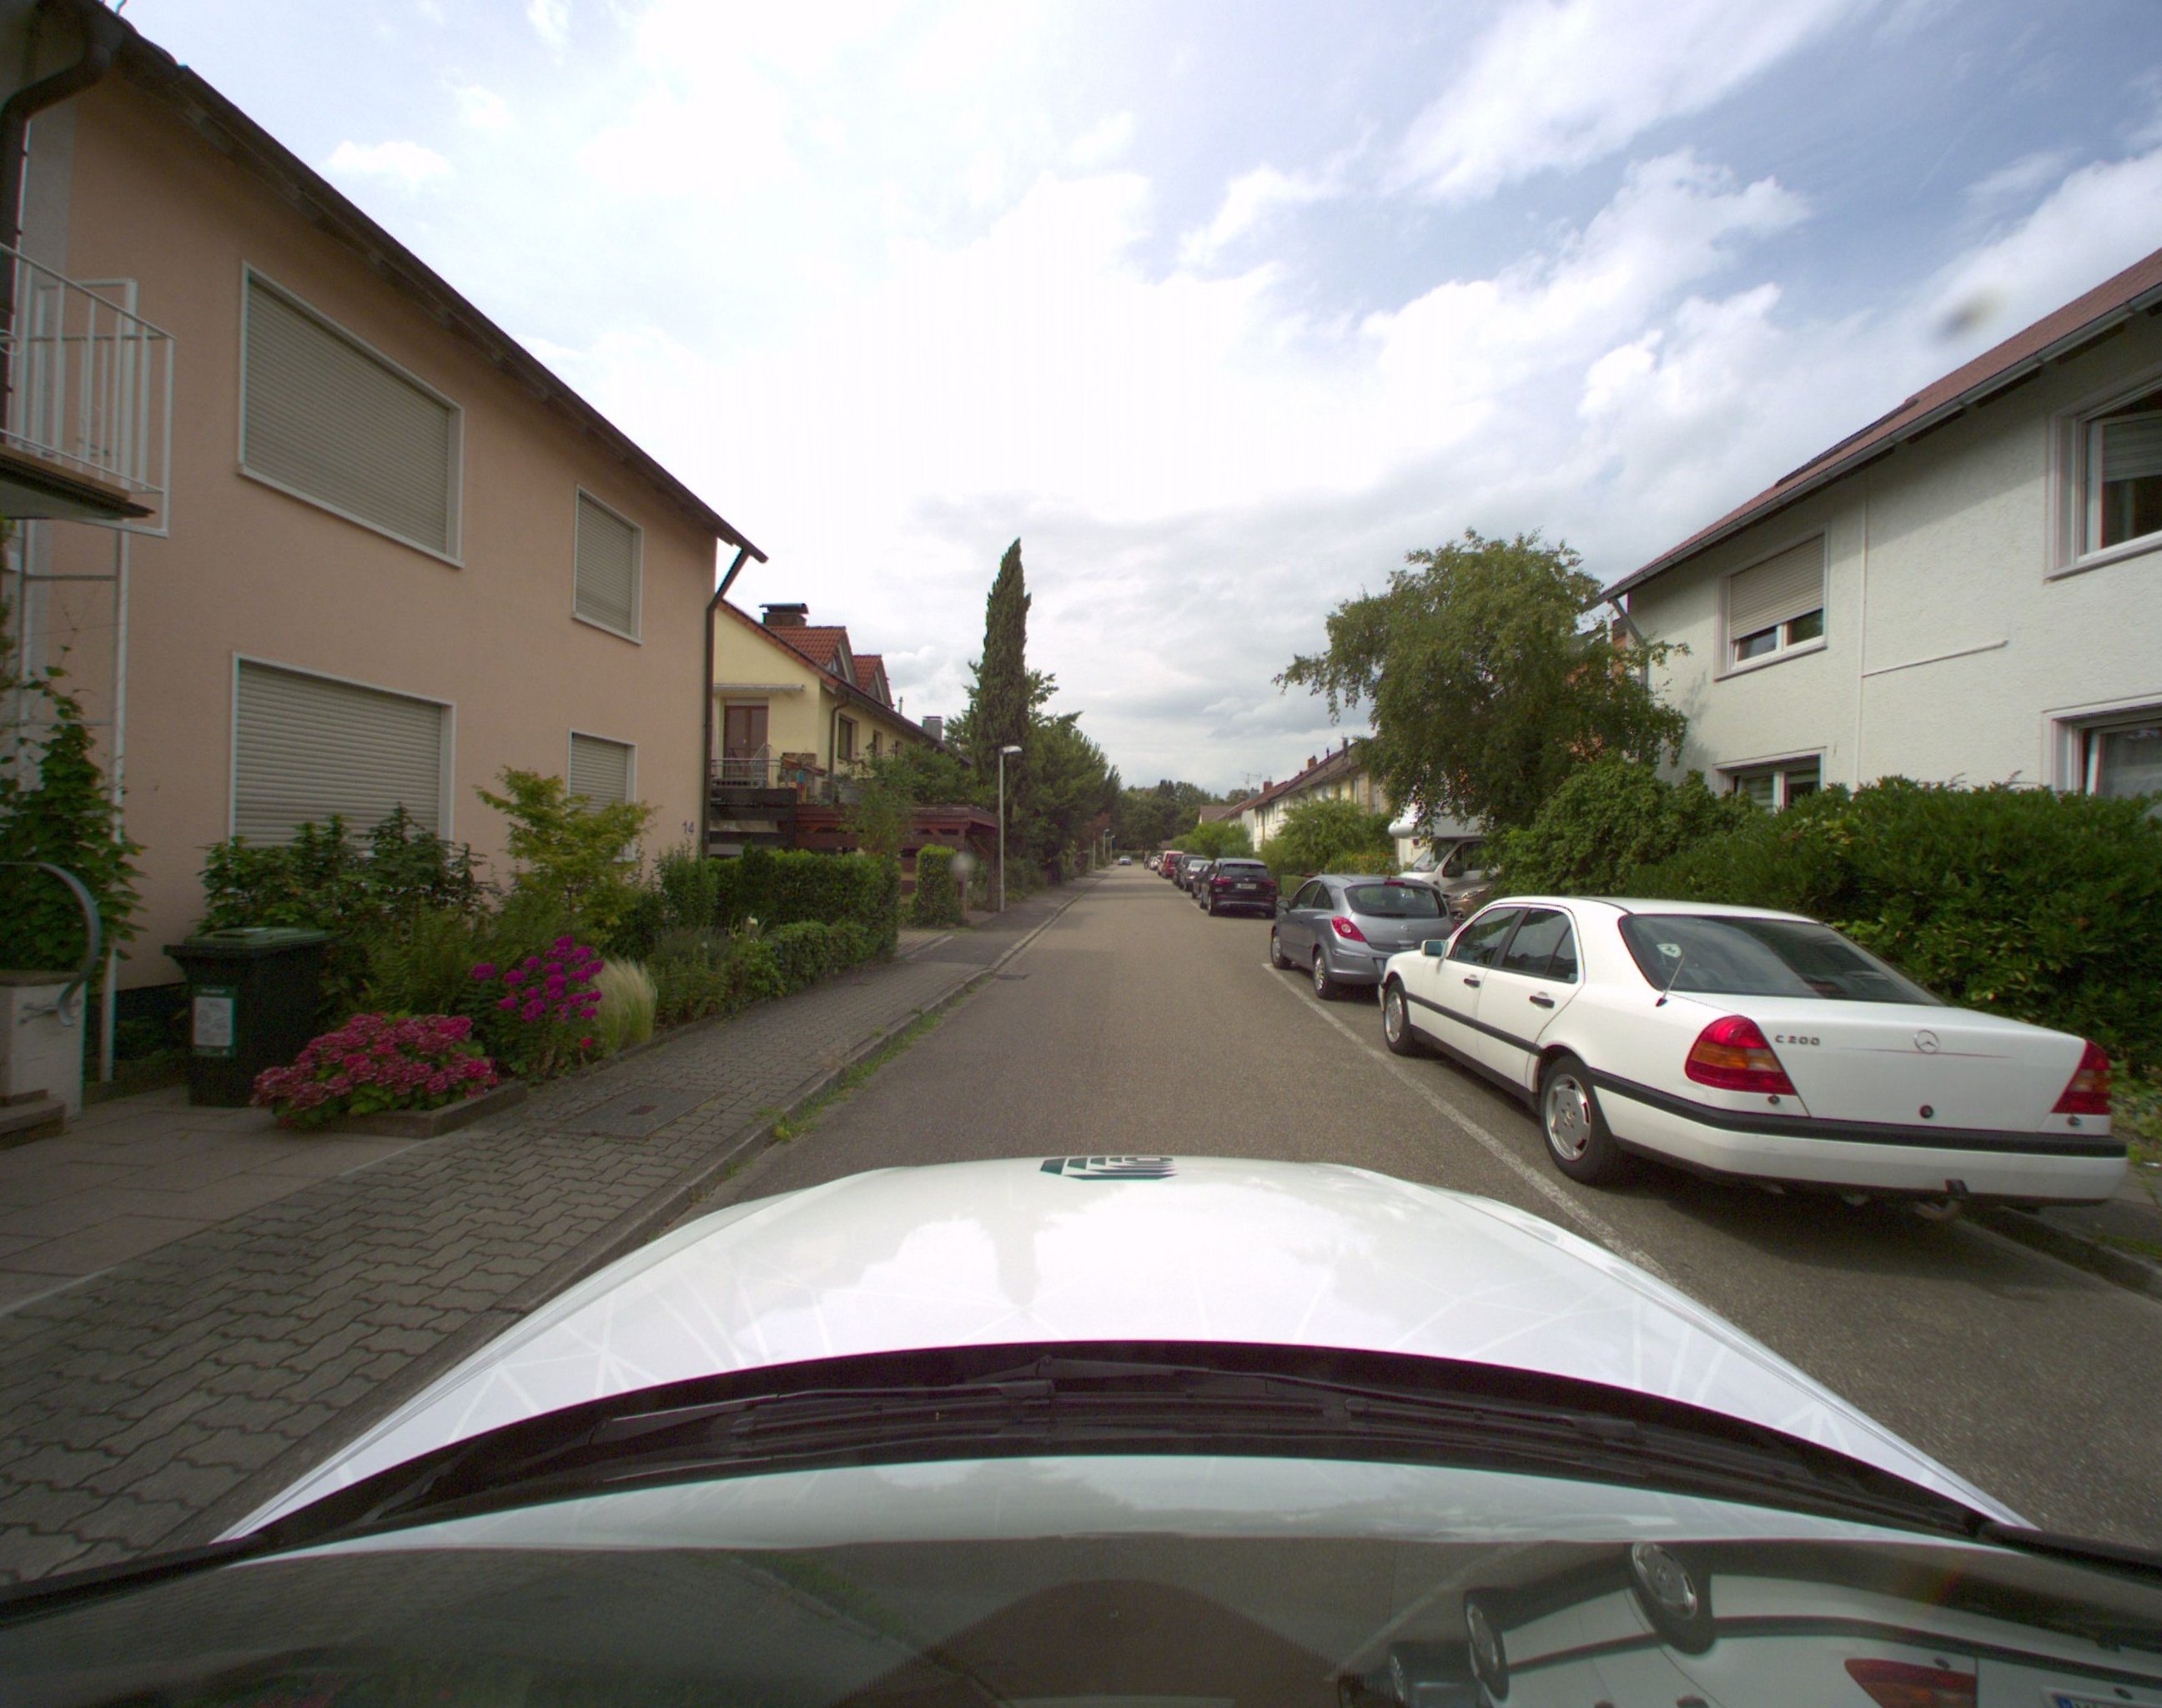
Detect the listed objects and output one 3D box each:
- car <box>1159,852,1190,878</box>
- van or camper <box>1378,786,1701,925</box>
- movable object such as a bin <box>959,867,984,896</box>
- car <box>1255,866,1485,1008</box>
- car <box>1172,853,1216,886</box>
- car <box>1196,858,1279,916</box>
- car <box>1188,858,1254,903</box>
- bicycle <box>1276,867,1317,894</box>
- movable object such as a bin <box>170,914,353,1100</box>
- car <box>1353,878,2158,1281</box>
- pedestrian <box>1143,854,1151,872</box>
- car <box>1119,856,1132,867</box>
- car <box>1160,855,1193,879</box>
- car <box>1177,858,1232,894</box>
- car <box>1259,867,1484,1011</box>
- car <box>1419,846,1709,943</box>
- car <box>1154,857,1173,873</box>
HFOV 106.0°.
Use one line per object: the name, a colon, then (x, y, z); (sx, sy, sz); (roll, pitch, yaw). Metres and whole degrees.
car: (7.105, 0.803, 62.437); (2.013, 1.947, 4.749); (0, 0, 2)
van or camper: (9.881, 0.037, 18.134); (5.766, 2.818, 2.542); (0, 0, 7)
movable object such as a bin: (-3.770, 0.950, 28.045); (0.709, 0.956, 0.751); (0, 0, 3)
car: (3.616, 0.942, 11.043); (1.697, 1.442, 4.222); (2, 0, 1)
car: (5.928, 0.789, 43.284); (1.860, 1.653, 4.466); (1, 0, 2)
car: (4.377, 0.860, 23.354); (1.742, 1.467, 4.652); (1, 0, 3)
car: (4.908, 0.885, 28.997); (1.726, 1.428, 4.127); (1, 0, 1)
bicycle: (8.511, 1.051, 32.167); (1.529, 1.023, 0.377); (0, 0, 8)
movable object such as a bin: (-4.547, 0.824, 4.548); (0.487, 0.931, 0.506); (1, 0, 2)
car: (3.345, 0.919, 5.451); (1.686, 1.365, 4.702); (1, 0, 3)
pedestrian: (7.410, 1.000, 91.150); (0.908, 2.014, 0.952); (0, 0, 3)
car: (6.993, 1.169, 127.061); (1.925, 1.556, 4.640); (0, 0, 4)
car: (6.706, 0.899, 57.446); (1.804, 1.651, 4.410); (0, 0, 0)
car: (5.498, 0.940, 36.850); (1.861, 1.407, 4.769); (2, 0, 1)
car: (3.613, 0.953, 10.967); (1.734, 1.470, 4.220); (0, 0, 3)
car: (9.232, 0.736, 15.913); (4.508, 1.708, 1.902); (1, 0, 6)
car: (8.266, 1.065, 82.106); (1.706, 1.543, 3.978); (2, 0, 4)
